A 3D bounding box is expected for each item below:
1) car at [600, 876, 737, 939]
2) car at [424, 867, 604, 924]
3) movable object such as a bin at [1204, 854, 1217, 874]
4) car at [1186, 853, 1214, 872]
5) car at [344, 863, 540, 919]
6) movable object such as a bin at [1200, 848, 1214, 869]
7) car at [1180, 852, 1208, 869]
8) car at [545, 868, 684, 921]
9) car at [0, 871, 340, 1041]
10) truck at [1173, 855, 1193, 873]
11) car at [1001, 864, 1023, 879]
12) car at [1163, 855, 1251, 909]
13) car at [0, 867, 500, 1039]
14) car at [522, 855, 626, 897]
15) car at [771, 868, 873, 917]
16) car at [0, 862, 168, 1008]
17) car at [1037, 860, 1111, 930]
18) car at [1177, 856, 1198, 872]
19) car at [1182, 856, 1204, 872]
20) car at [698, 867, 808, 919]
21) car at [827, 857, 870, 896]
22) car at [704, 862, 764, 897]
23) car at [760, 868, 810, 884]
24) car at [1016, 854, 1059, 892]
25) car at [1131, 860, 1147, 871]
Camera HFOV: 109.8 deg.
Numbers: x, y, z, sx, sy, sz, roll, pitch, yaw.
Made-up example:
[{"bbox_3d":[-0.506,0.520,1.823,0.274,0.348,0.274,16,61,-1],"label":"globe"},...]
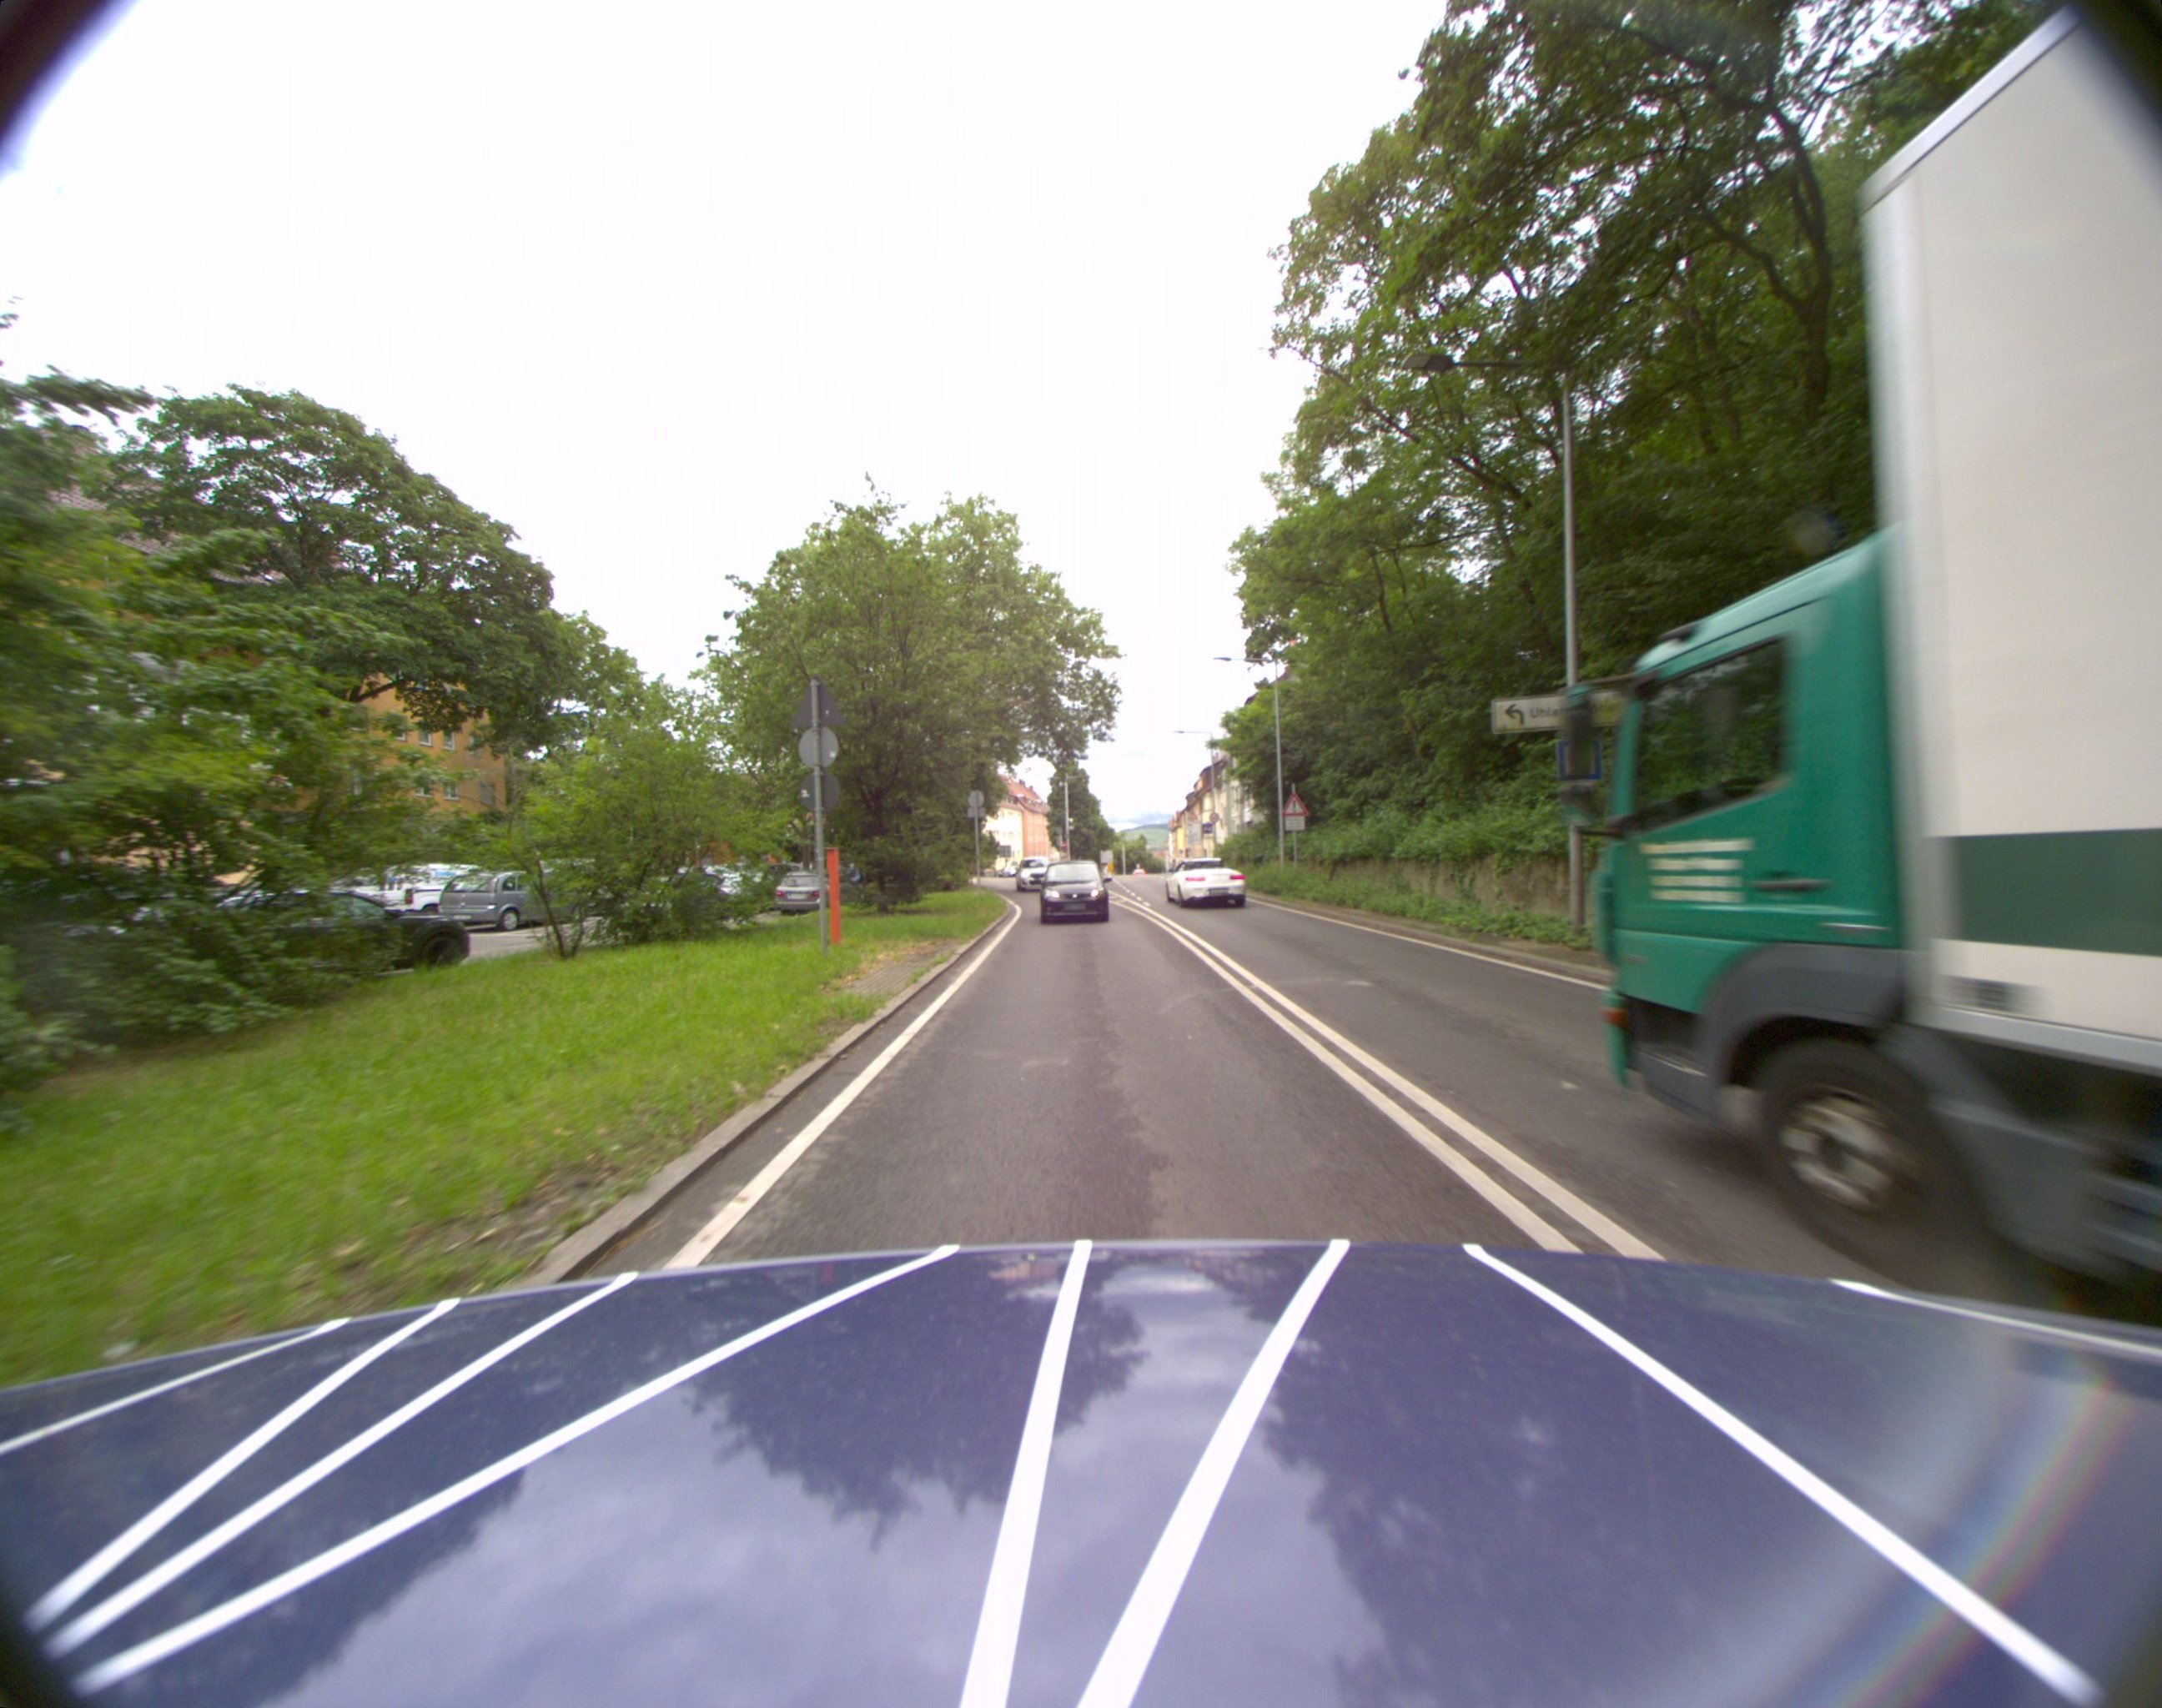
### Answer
[{"bbox_3d":[-11.616,1.442,21.704,1.748,1.434,3.898,-1,1,0],"label":"car"},{"bbox_3d":[-15.852,1.175,21.546,1.810,1.433,4.011,-1,-3,6],"label":"car"},{"bbox_3d":[7.700,0.603,45.128,0.582,1.178,0.430,-5,0,-10],"label":"movable object such as a bin"},{"bbox_3d":[9.681,0.743,62.302,1.998,1.392,4.521,-2,-2,6],"label":"car"},{"bbox_3d":[-18.215,1.089,21.968,1.810,1.433,4.249,-1,-3,6],"label":"car"},{"bbox_3d":[7.595,0.275,45.655,0.606,1.178,0.492,-5,0,-10],"label":"movable object such as a bin"},{"bbox_3d":[10.249,0.625,69.080,1.998,1.414,4.214,-2,-2,2],"label":"car"},{"bbox_3d":[-15.836,1.309,26.107,1.789,1.584,4.406,-1,0,4],"label":"car"},{"bbox_3d":[-13.537,1.265,10.434,1.861,1.868,4.884,-2,1,0],"label":"car"},{"bbox_3d":[11.788,1.153,87.895,1.998,1.908,5.351,-2,-2,5],"label":"truck"},{"bbox_3d":[-7.240,1.802,79.699,1.783,1.583,3.535,0,-1,4],"label":"car"},{"bbox_3d":[3.665,0.763,22.801,1.873,1.363,4.455,-2,0,0],"label":"car"},{"bbox_3d":[-10.923,1.076,10.411,1.812,1.656,4.887,0,1,6],"label":"car"},{"bbox_3d":[-25.655,1.058,38.703,1.998,1.875,4.600,-1,1,3],"label":"car"},{"bbox_3d":[-8.786,1.259,26.272,1.789,1.433,5.063,-1,0,0],"label":"car"},{"bbox_3d":[-16.095,1.189,10.261,1.861,2.003,4.562,-2,1,1],"label":"car"},{"bbox_3d":[-0.256,0.938,18.957,1.604,1.448,3.683,-3,0,-3],"label":"car"},{"bbox_3d":[11.473,1.097,82.009,1.998,1.542,4.385,-2,-2,5],"label":"car"},{"bbox_3d":[11.342,1.055,77.030,1.998,1.465,4.162,-2,-2,6],"label":"car"},{"bbox_3d":[-11.307,1.286,26.577,1.789,1.549,4.594,-1,0,0],"label":"car"},{"bbox_3d":[-11.338,1.026,36.858,1.816,1.655,4.876,0,1,-19],"label":"car"},{"bbox_3d":[-16.693,1.179,36.743,1.738,1.560,4.126,1,0,-11],"label":"car"},{"bbox_3d":[-26.660,1.971,68.586,4.134,1.419,1.735,1,-1,-20],"label":"car"},{"bbox_3d":[-2.202,0.882,37.480,1.781,1.598,4.160,-4,1,-7],"label":"car"},{"bbox_3d":[8.705,1.723,114.736,1.874,1.688,4.936,-2,0,-1],"label":"car"}]
